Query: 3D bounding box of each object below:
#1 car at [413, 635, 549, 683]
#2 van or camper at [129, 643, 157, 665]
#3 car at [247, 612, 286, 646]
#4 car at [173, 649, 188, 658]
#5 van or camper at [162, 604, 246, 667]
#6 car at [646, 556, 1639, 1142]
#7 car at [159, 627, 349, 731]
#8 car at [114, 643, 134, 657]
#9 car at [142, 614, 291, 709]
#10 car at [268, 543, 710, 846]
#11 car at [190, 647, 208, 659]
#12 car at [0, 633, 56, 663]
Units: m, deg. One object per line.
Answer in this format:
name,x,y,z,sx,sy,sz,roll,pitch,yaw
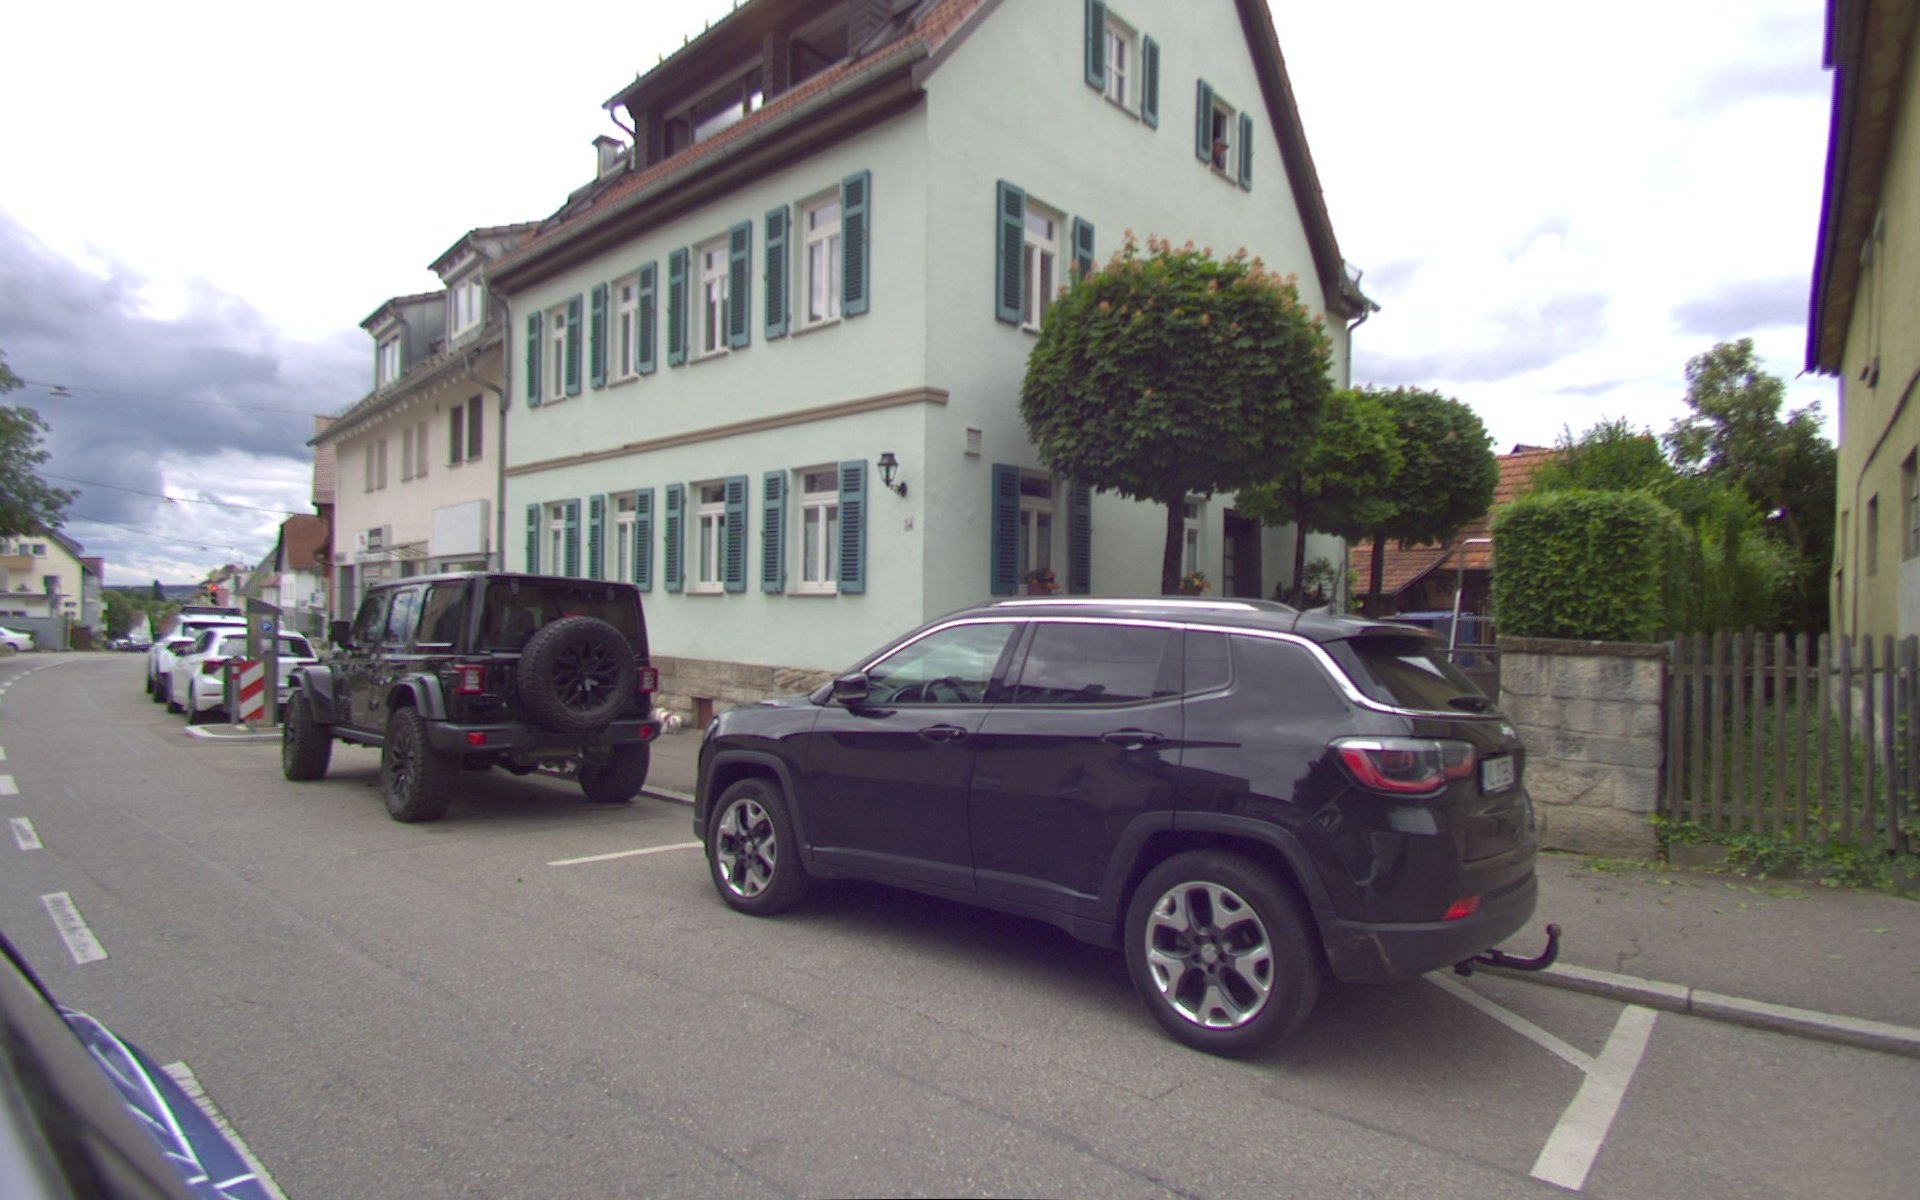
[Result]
car,-16.109,1.950,34.087,3.931,1.486,1.747,1,-2,-32
van or camper,-82.998,5.481,102.827,1.969,2.029,5.070,-2,-1,-42
car,-44.643,1.884,65.224,1.787,2.021,4.776,3,-4,-32
car,-130.637,8.986,169.636,1.680,1.544,3.741,5,-6,-41
van or camper,-26.528,1.200,35.647,2.045,2.021,4.870,3,-2,-34
car,0.534,0.810,5.043,4.521,1.631,1.877,-3,-4,40
car,-11.523,1.171,16.419,1.974,1.447,3.922,0,-1,-44
car,-94.223,5.598,114.067,1.589,1.466,3.865,-1,-2,-41
car,-14.938,1.128,20.217,1.973,1.645,4.864,0,-1,-41
car,-4.435,0.730,9.135,4.671,2.029,1.971,-2,-4,43
car,-106.299,7.375,141.297,1.680,1.544,3.741,5,-6,-41
car,-47.569,2.332,49.652,1.999,1.456,4.506,-2,-4,40
